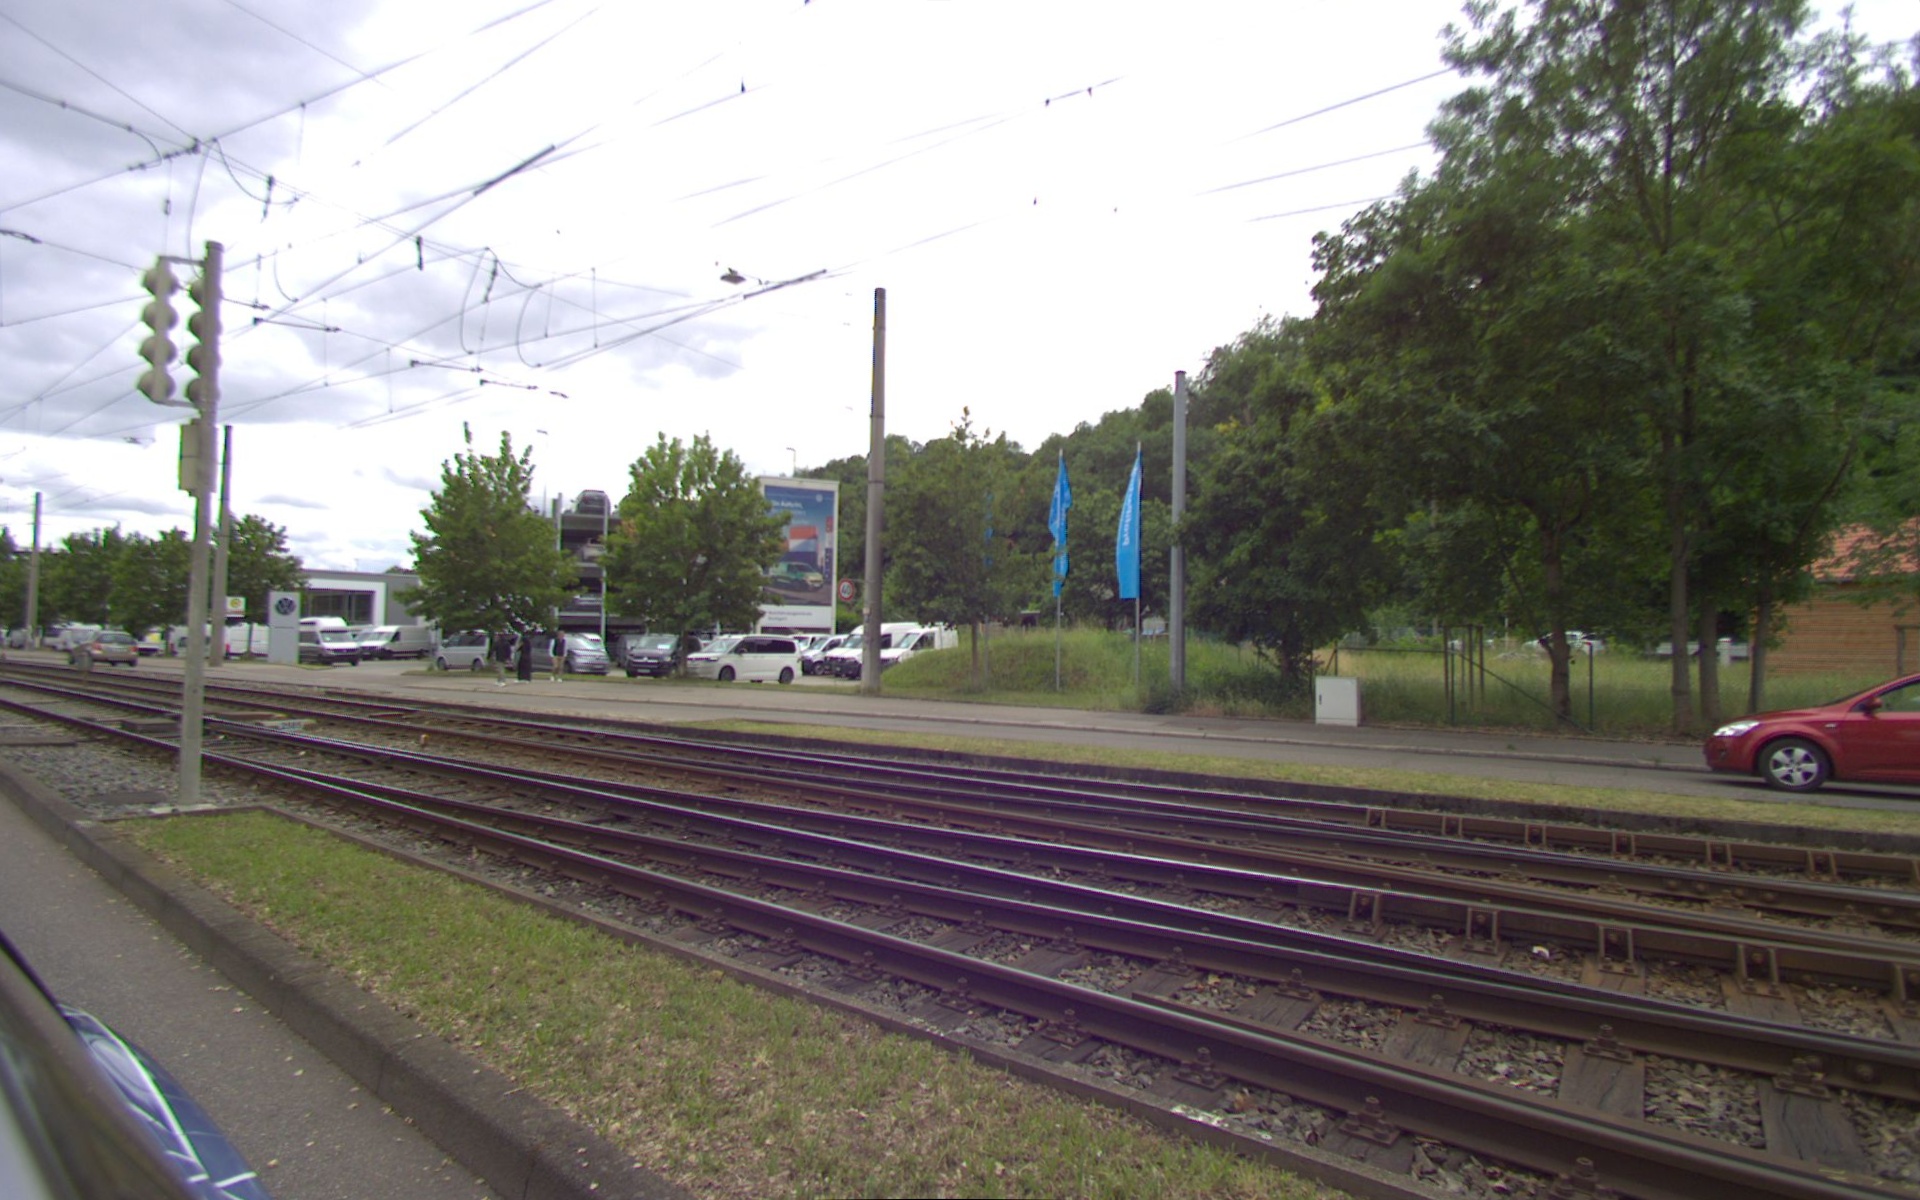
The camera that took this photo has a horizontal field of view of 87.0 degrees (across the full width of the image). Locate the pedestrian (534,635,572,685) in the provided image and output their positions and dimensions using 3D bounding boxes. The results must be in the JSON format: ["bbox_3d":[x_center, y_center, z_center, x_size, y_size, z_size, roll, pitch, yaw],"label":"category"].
[{"bbox_3d":[-13.985,2.038,34.783,1.037,1.668,0.713,-2,-1,27],"label":"pedestrian"}]

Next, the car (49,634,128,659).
[{"bbox_3d":[-68.737,3.676,79.850,2.000,1.859,4.327,-2,-3,35],"label":"car"}]

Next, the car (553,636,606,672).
[{"bbox_3d":[-20.320,2.859,53.977,1.965,1.845,4.481,2,-3,-29],"label":"car"}]

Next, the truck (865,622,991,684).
[{"bbox_3d":[-1.406,2.371,44.771,4.984,2.608,2.476,2,-3,-24],"label":"truck"}]

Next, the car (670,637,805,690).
[{"bbox_3d":[-8.547,2.415,39.306,2.161,1.902,5.013,-2,-3,34],"label":"car"}]

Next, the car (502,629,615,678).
[{"bbox_3d":[-17.477,2.312,44.006,5.115,2.029,1.977,-1,-3,33],"label":"car"}]

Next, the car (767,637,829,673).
[{"bbox_3d":[-9.348,3.152,58.636,1.982,2.029,4.257,-2,-2,15],"label":"car"}]

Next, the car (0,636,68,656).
[{"bbox_3d":[-79.327,3.914,86.370,1.998,1.630,4.331,-1,-3,32],"label":"car"}]

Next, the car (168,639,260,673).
[{"bbox_3d":[-48.415,3.595,65.785,1.996,2.121,4.334,-1,-3,30],"label":"car"}]

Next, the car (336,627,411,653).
[{"bbox_3d":[-47.307,3.272,81.662,1.996,2.029,4.799,-1,-3,36],"label":"car"}]

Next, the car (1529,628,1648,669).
[{"bbox_3d":[27.338,2.107,44.158,1.965,1.674,4.012,1,-2,-19],"label":"car"}]

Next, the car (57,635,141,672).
[{"bbox_3d":[-38.864,2.406,45.645,4.248,1.544,1.873,-2,-6,36],"label":"car"}]

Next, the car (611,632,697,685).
[{"bbox_3d":[-12.473,2.382,41.642,2.135,2.029,5.074,1,-3,-2],"label":"car"}]

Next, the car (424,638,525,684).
[{"bbox_3d":[-22.802,2.823,47.520,4.904,2.029,1.978,-1,-3,33],"label":"car"}]

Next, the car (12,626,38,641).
[{"bbox_3d":[-125.696,4.535,136.093,1.967,2.029,4.009,3,-3,-35],"label":"car"}]

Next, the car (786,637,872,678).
[{"bbox_3d":[-6.746,2.968,52.416,3.935,2.029,2.004,2,-3,-38],"label":"car"}]

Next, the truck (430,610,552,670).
[{"bbox_3d":[-25.610,2.223,55.390,5.835,3.108,2.126,2,-3,-26],"label":"truck"}]

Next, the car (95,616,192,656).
[{"bbox_3d":[-58.918,2.632,73.128,2.107,2.719,4.930,-1,-3,30],"label":"car"}]

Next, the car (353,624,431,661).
[{"bbox_3d":[-41.889,3.176,74.795,1.979,2.622,5.943,0,-3,5],"label":"car"}]

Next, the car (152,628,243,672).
[{"bbox_3d":[-50.480,3.305,67.051,1.996,2.841,4.334,-1,-3,30],"label":"car"}]

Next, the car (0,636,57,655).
[{"bbox_3d":[-81.212,3.939,87.750,1.996,1.630,3.951,-2,-3,36],"label":"car"}]

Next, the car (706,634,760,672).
[{"bbox_3d":[-12.787,2.967,56.750,1.965,2.028,4.482,2,-3,-25],"label":"car"}]

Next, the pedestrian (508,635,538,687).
[{"bbox_3d":[-14.850,2.064,34.375,0.854,1.726,0.622,-2,-2,37],"label":"pedestrian"}]

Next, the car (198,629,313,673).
[{"bbox_3d":[-43.910,3.148,63.189,2.241,2.622,5.426,-2,-3,34],"label":"car"}]

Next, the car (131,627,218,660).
[{"bbox_3d":[-54.574,3.024,70.404,1.996,2.189,4.334,-1,-3,30],"label":"car"}]

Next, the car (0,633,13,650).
[{"bbox_3d":[-91.779,3.896,94.821,2.059,1.630,4.140,-2,-3,36],"label":"car"}]

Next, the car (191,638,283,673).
[{"bbox_3d":[-46.248,3.529,64.794,1.996,2.121,4.334,-1,-3,30],"label":"car"}]

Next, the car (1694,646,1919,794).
[{"bbox_3d":[10.940,1.306,11.114,4.498,1.527,1.972,-2,-4,41],"label":"car"}]

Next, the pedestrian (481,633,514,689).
[{"bbox_3d":[-15.372,2.018,33.642,0.854,1.827,0.670,-2,-2,37],"label":"pedestrian"}]

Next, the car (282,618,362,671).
[{"bbox_3d":[-38.744,2.685,61.413,5.926,3.042,2.088,-2,-4,37],"label":"car"}]

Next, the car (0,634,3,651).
[{"bbox_3d":[-96.577,4.151,98.757,2.150,1.630,4.297,-2,-3,36],"label":"car"}]

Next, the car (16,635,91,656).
[{"bbox_3d":[-76.311,3.856,85.252,2.000,1.699,4.327,-2,-3,35],"label":"car"}]

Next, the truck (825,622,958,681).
[{"bbox_3d":[-3.176,2.424,47.468,5.678,2.608,2.476,2,-3,-29],"label":"truck"}]

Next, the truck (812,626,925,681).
[{"bbox_3d":[-4.534,2.654,50.427,4.985,2.608,2.476,2,-3,-30],"label":"truck"}]

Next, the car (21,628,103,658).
[{"bbox_3d":[-71.189,3.416,80.316,2.120,2.329,4.457,-2,-3,35],"label":"car"}]

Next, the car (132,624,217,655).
[{"bbox_3d":[-56.269,2.843,72.533,1.996,2.189,4.334,-1,-3,30],"label":"car"}]
